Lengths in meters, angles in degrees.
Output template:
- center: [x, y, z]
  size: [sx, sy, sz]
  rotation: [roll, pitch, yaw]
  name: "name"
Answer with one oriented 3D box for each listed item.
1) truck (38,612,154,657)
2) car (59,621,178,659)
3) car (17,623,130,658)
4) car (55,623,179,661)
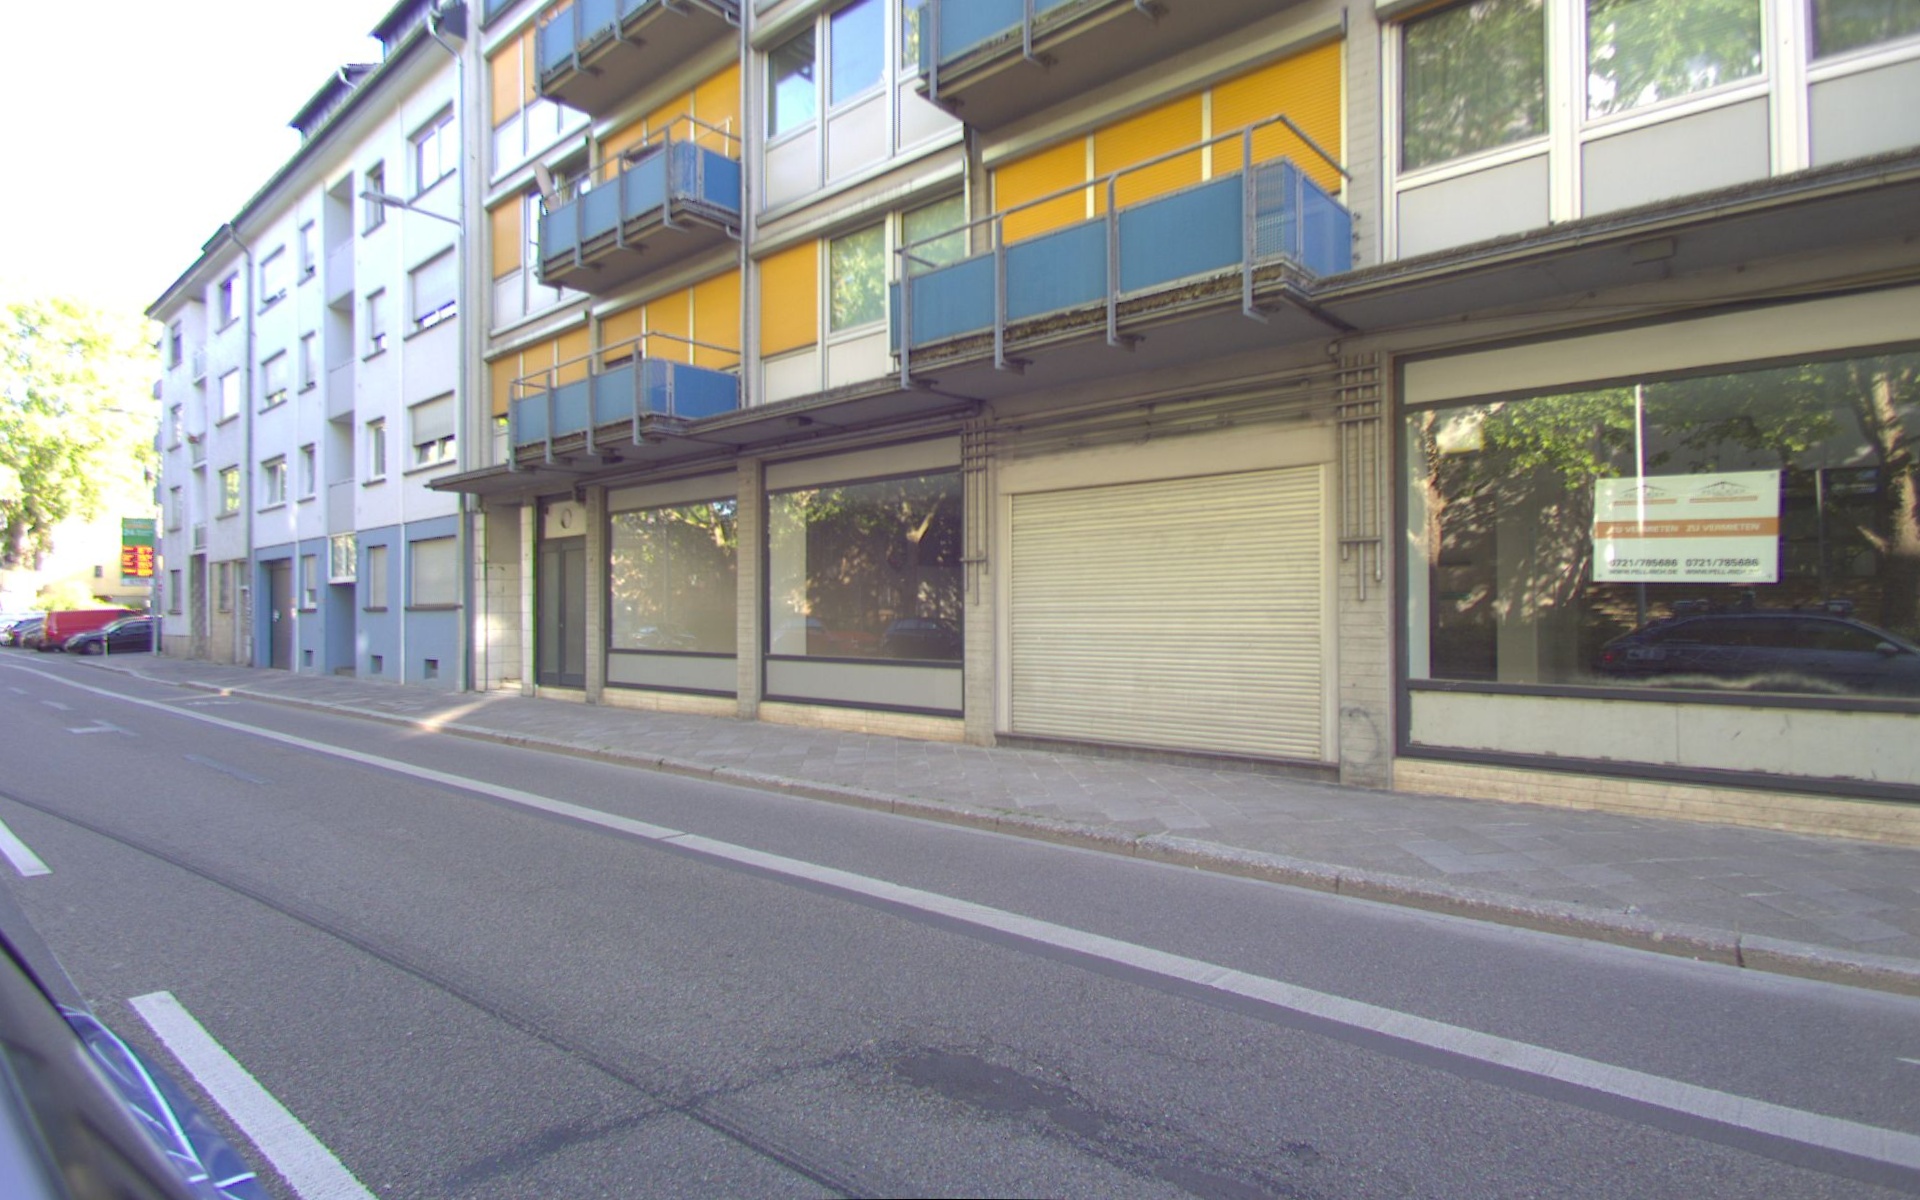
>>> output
- center: [-40.491, 1.585, 47.483]
  size: [1.761, 1.951, 3.944]
  rotation: [-1, 0, 42]
  name: "truck"
- center: [-38.100, 1.772, 45.891]
  size: [1.761, 1.514, 3.944]
  rotation: [-1, 0, 42]
  name: "car"
- center: [-42.901, 1.917, 49.030]
  size: [1.761, 1.514, 3.944]
  rotation: [-1, 0, 42]
  name: "car"
- center: [-36.620, 1.776, 44.004]
  size: [1.761, 1.468, 3.944]
  rotation: [-1, 0, 42]
  name: "car"
